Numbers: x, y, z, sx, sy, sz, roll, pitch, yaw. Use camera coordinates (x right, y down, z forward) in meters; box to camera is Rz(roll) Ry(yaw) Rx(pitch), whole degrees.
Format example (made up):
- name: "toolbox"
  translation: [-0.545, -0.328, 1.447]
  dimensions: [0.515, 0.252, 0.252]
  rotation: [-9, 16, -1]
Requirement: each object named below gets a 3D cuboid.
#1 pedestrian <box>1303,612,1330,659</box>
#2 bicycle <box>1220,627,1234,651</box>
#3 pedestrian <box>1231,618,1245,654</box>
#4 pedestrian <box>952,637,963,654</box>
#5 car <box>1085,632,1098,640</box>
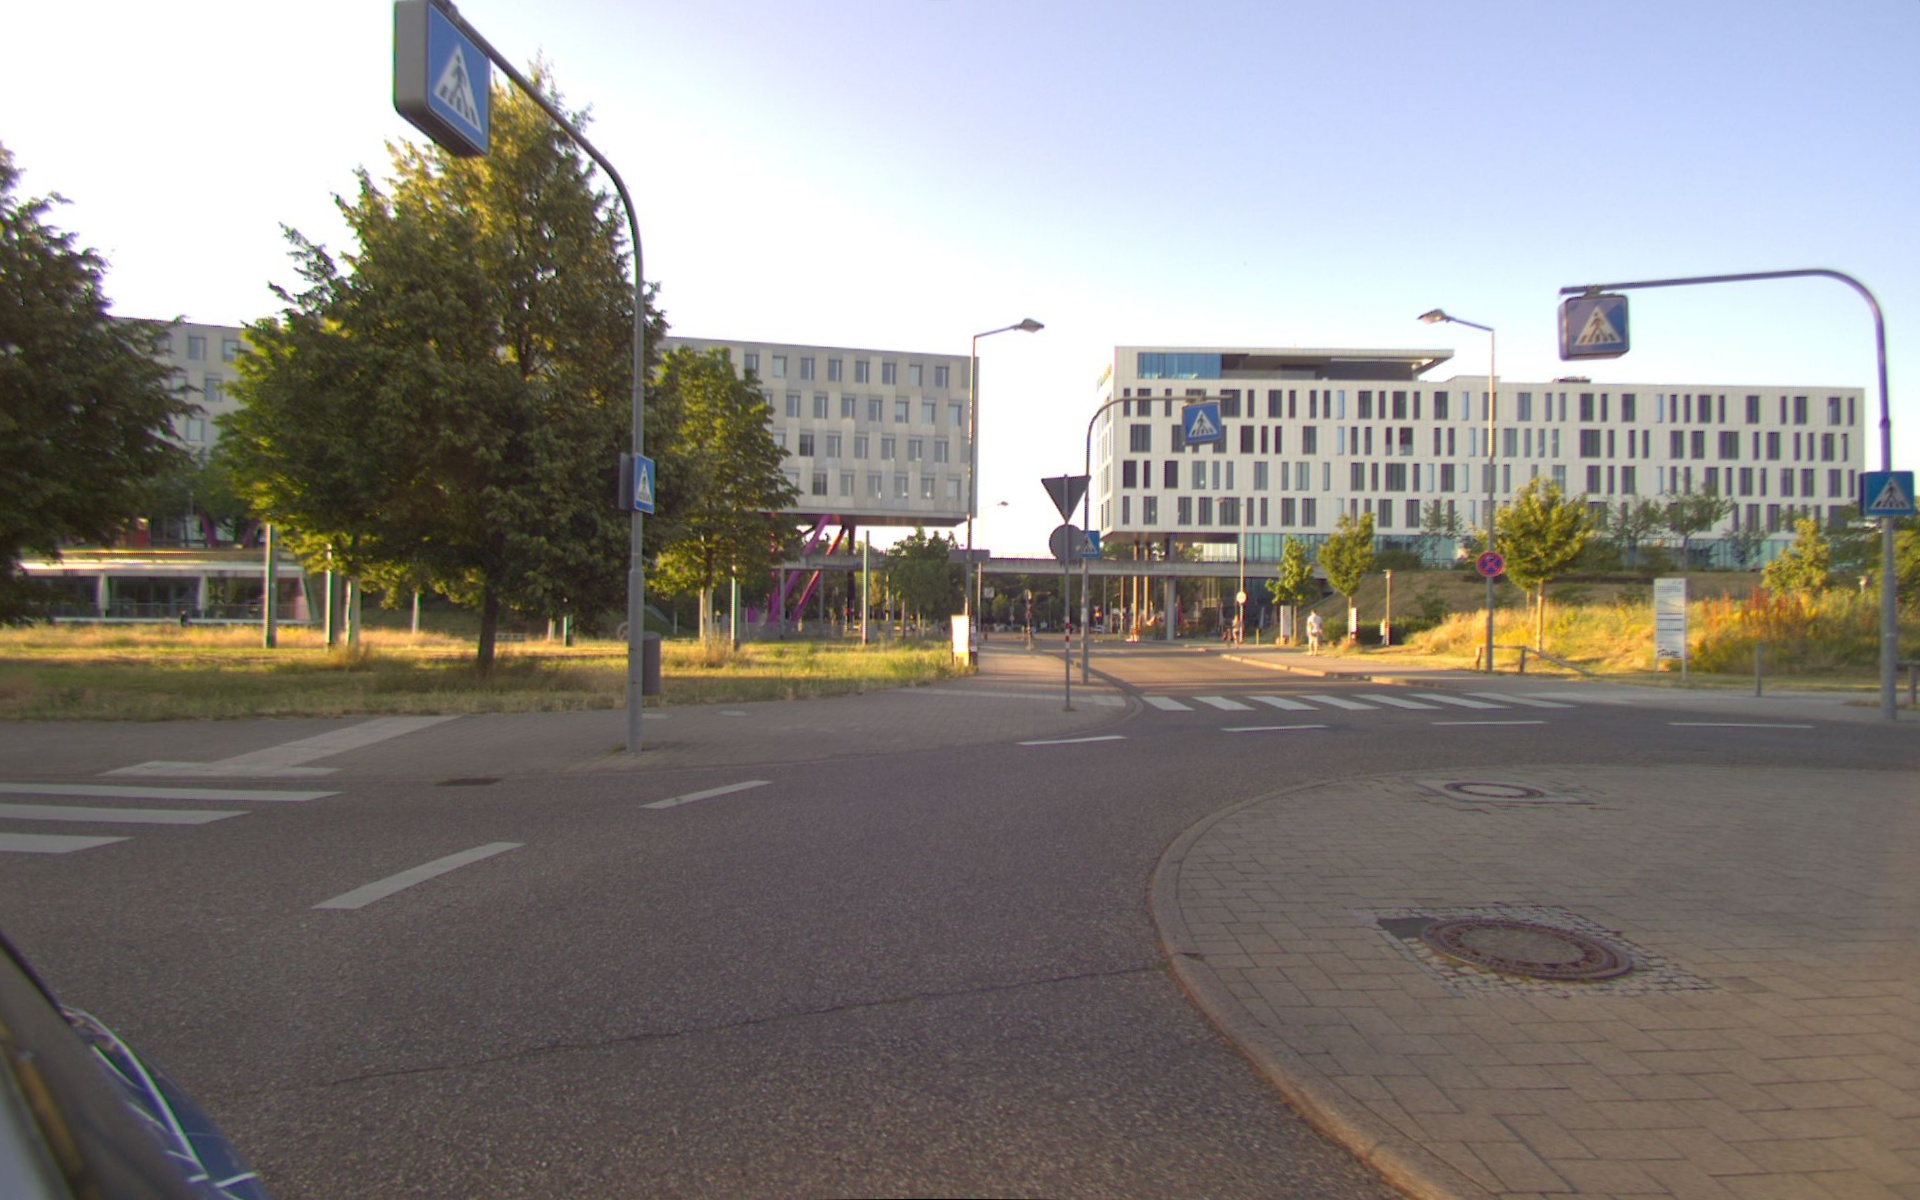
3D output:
- name: "pedestrian"
  translation: [13.511, 1.339, 38.393]
  dimensions: [0.824, 1.780, 0.816]
  rotation: [0, -1, 8]
- name: "bicycle"
  translation: [13.654, 1.997, 51.805]
  dimensions: [0.446, 1.177, 1.937]
  rotation: [0, -1, 7]
- name: "pedestrian"
  translation: [14.159, 1.844, 51.626]
  dimensions: [0.589, 1.815, 0.816]
  rotation: [0, -1, 8]
- name: "pedestrian"
  translation: [-0.247, 5.018, 111.756]
  dimensions: [1.039, 1.848, 0.897]
  rotation: [1, -1, -12]
- name: "car"
  translation: [26.210, 7.136, 201.781]
  dimensions: [1.494, 1.618, 3.371]
  rotation: [0, -1, 27]
